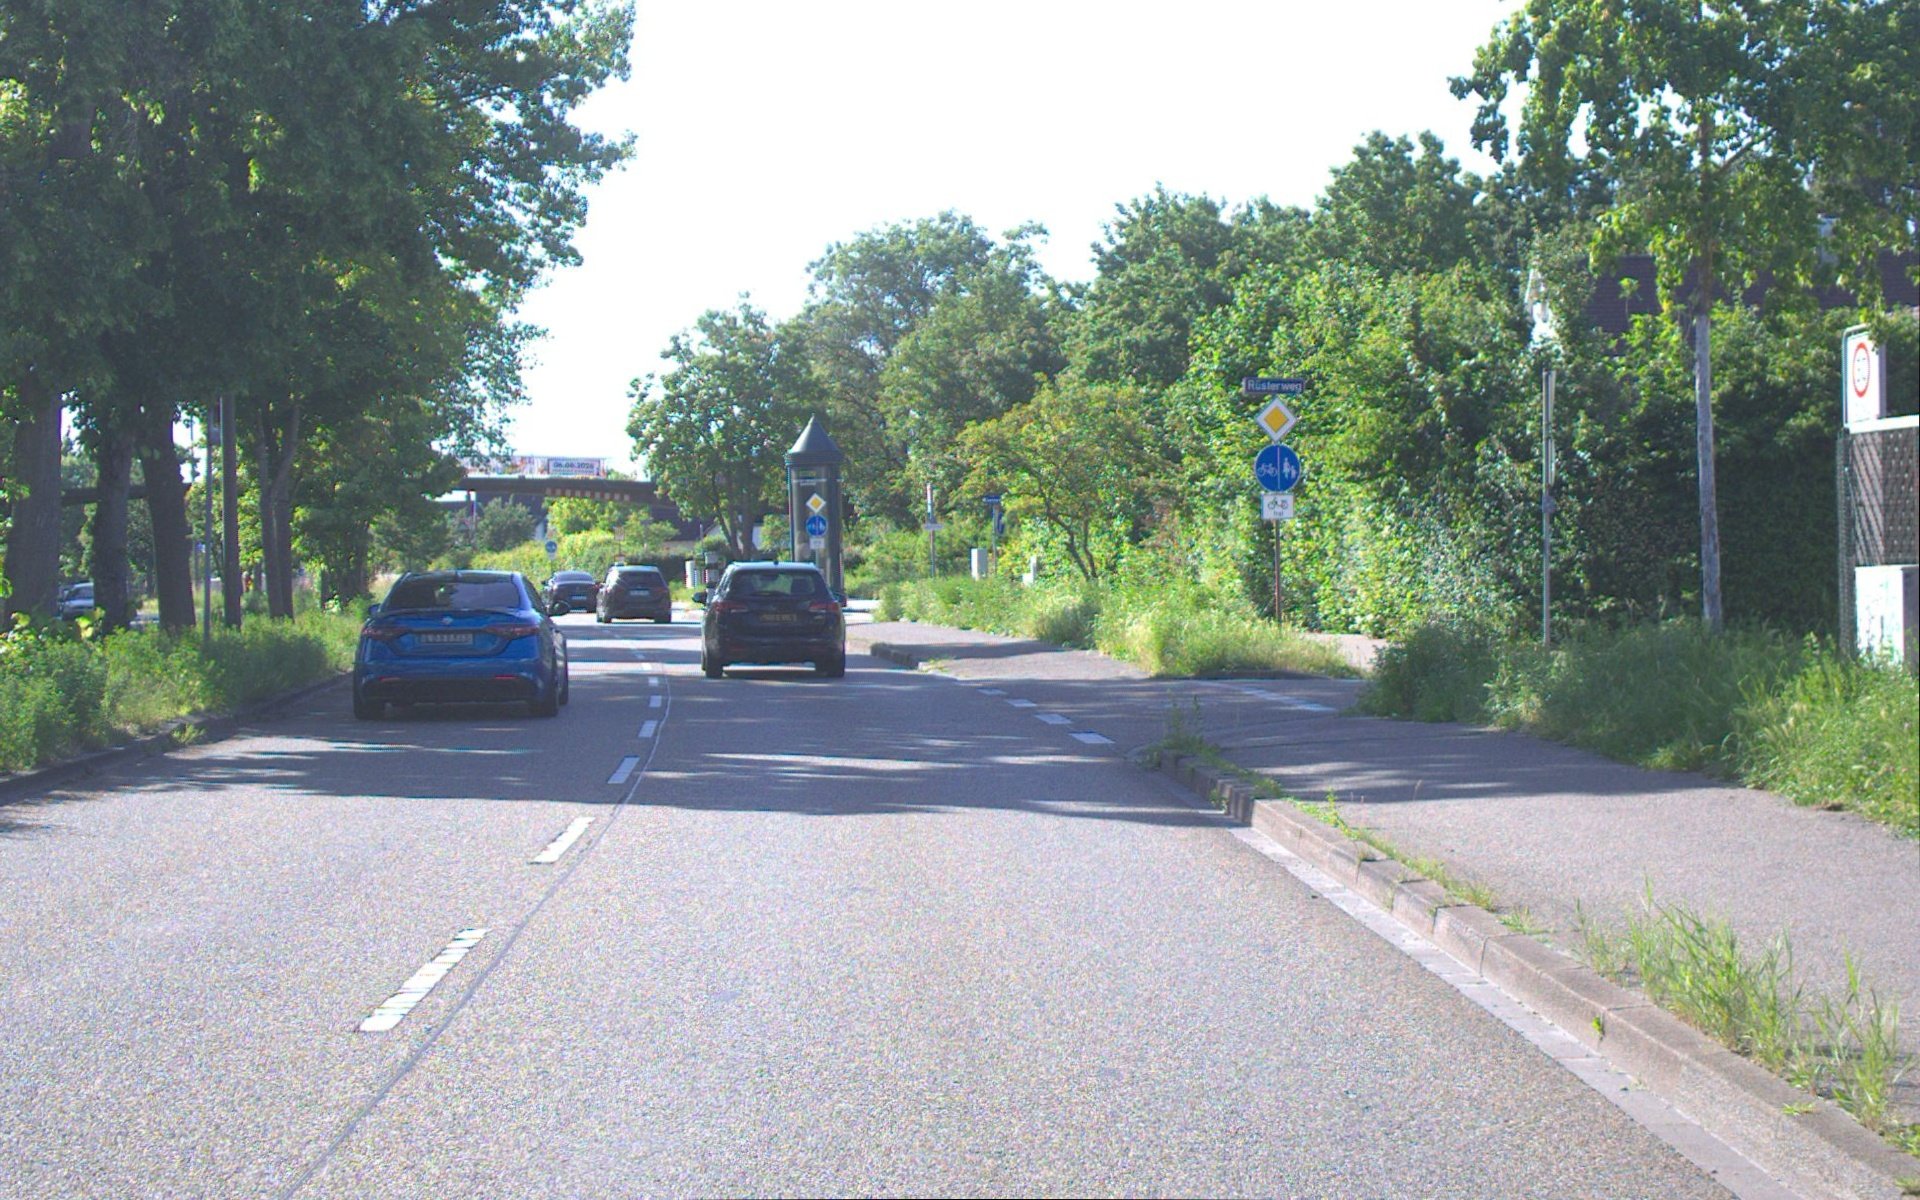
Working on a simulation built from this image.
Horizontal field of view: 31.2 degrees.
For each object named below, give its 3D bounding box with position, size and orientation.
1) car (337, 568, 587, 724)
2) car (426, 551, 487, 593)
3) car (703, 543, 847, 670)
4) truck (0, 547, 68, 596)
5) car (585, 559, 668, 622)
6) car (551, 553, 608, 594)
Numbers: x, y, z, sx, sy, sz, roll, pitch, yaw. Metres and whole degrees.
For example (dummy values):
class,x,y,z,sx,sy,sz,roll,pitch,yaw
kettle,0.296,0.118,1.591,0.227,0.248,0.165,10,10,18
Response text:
class,x,y,z,sx,sy,sz,roll,pitch,yaw
car,-4.796,0.403,33.602,1.994,1.400,4.000,0,1,-2
car,-17.025,-0.952,116.360,1.898,1.351,4.001,-1,1,-7
car,-2.407,0.105,44.582,1.760,1.554,4.000,0,-1,-3
truck,-52.199,-1.591,193.563,2.172,2.504,5.742,-4,1,-30
car,-8.900,-0.280,91.608,1.743,1.592,4.176,-1,1,-12
car,-13.097,-0.917,118.204,1.898,1.351,4.001,-1,1,-7
